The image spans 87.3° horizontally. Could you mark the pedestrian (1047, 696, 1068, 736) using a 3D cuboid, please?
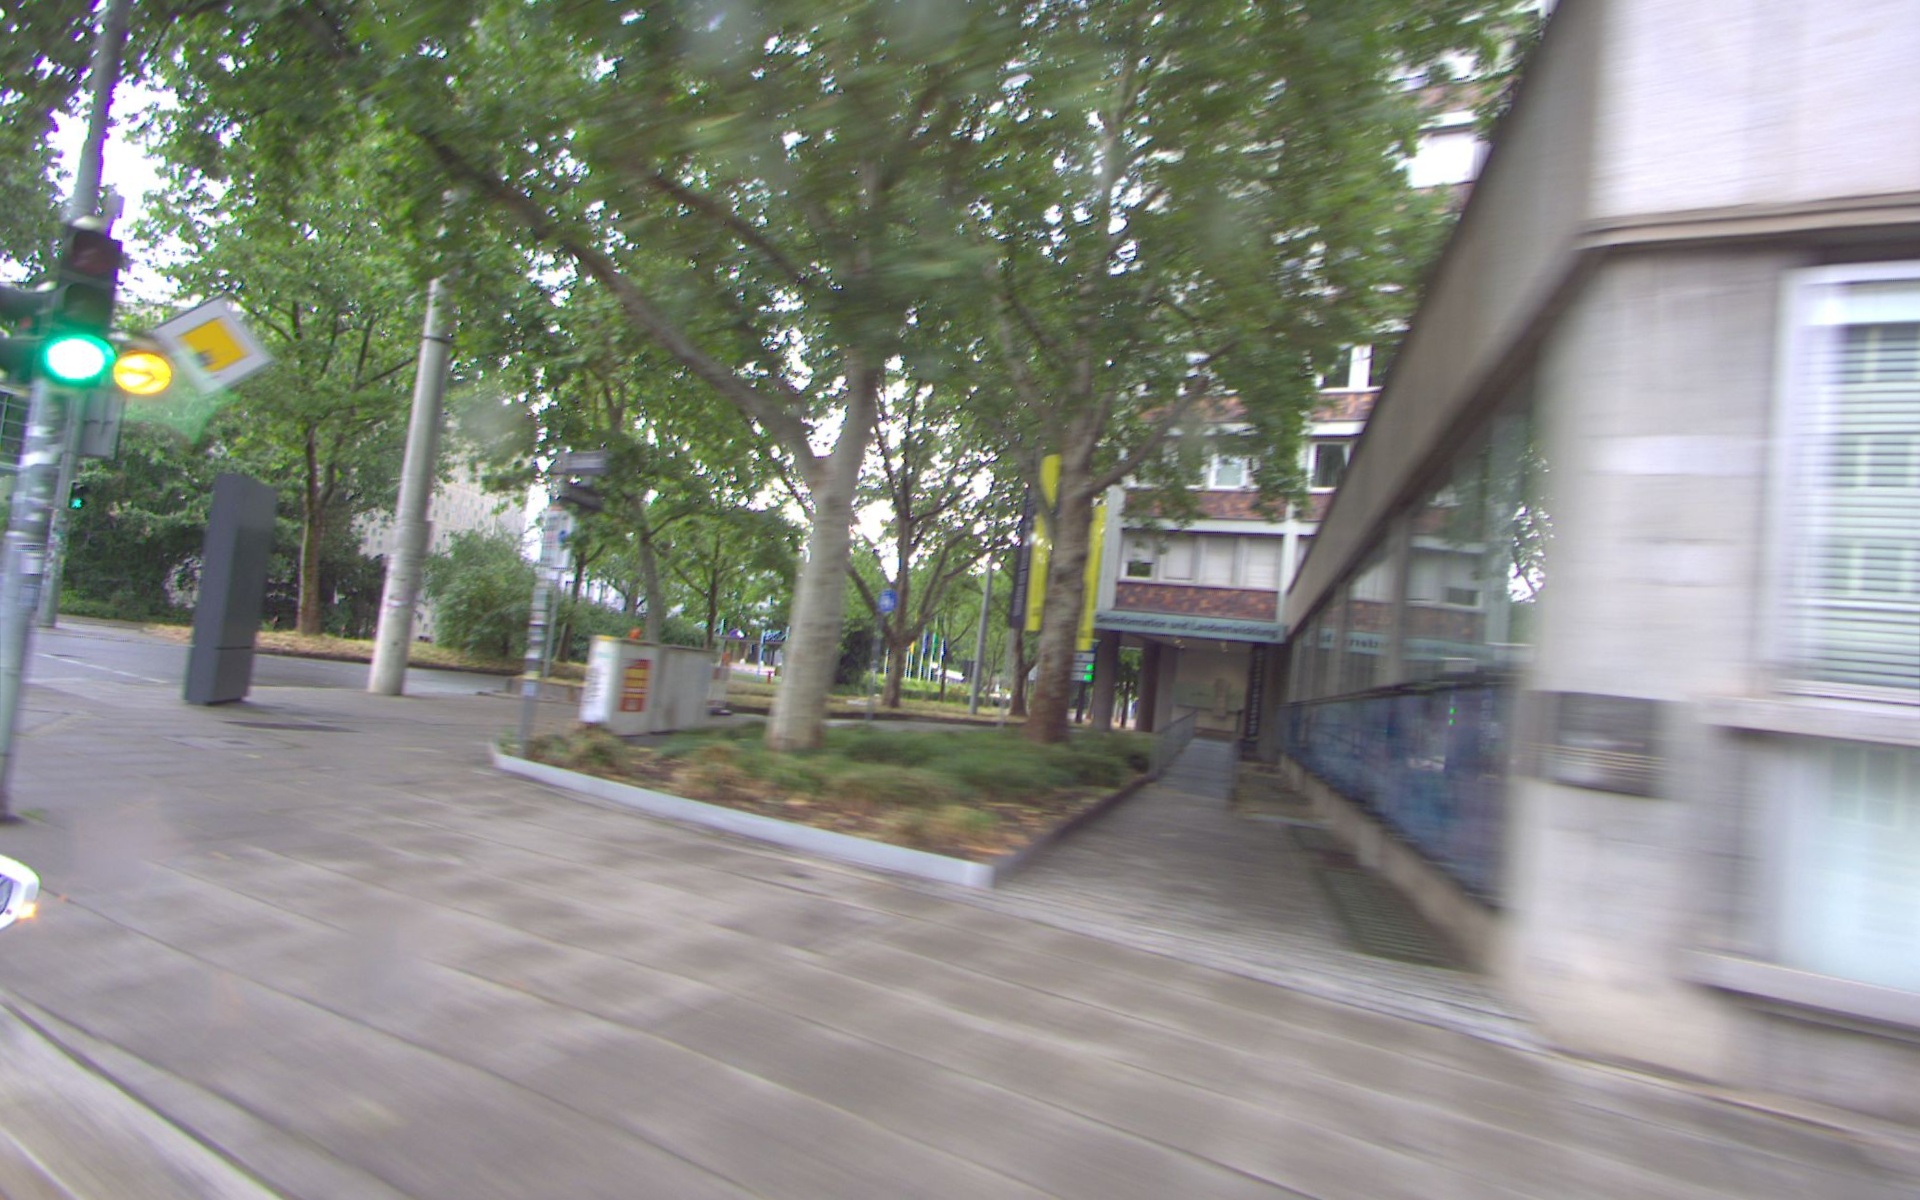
[{"bbox_3d":[4.232,5.037,43.752,0.512,1.656,0.936,6,-4,21],"label":"pedestrian"}]
